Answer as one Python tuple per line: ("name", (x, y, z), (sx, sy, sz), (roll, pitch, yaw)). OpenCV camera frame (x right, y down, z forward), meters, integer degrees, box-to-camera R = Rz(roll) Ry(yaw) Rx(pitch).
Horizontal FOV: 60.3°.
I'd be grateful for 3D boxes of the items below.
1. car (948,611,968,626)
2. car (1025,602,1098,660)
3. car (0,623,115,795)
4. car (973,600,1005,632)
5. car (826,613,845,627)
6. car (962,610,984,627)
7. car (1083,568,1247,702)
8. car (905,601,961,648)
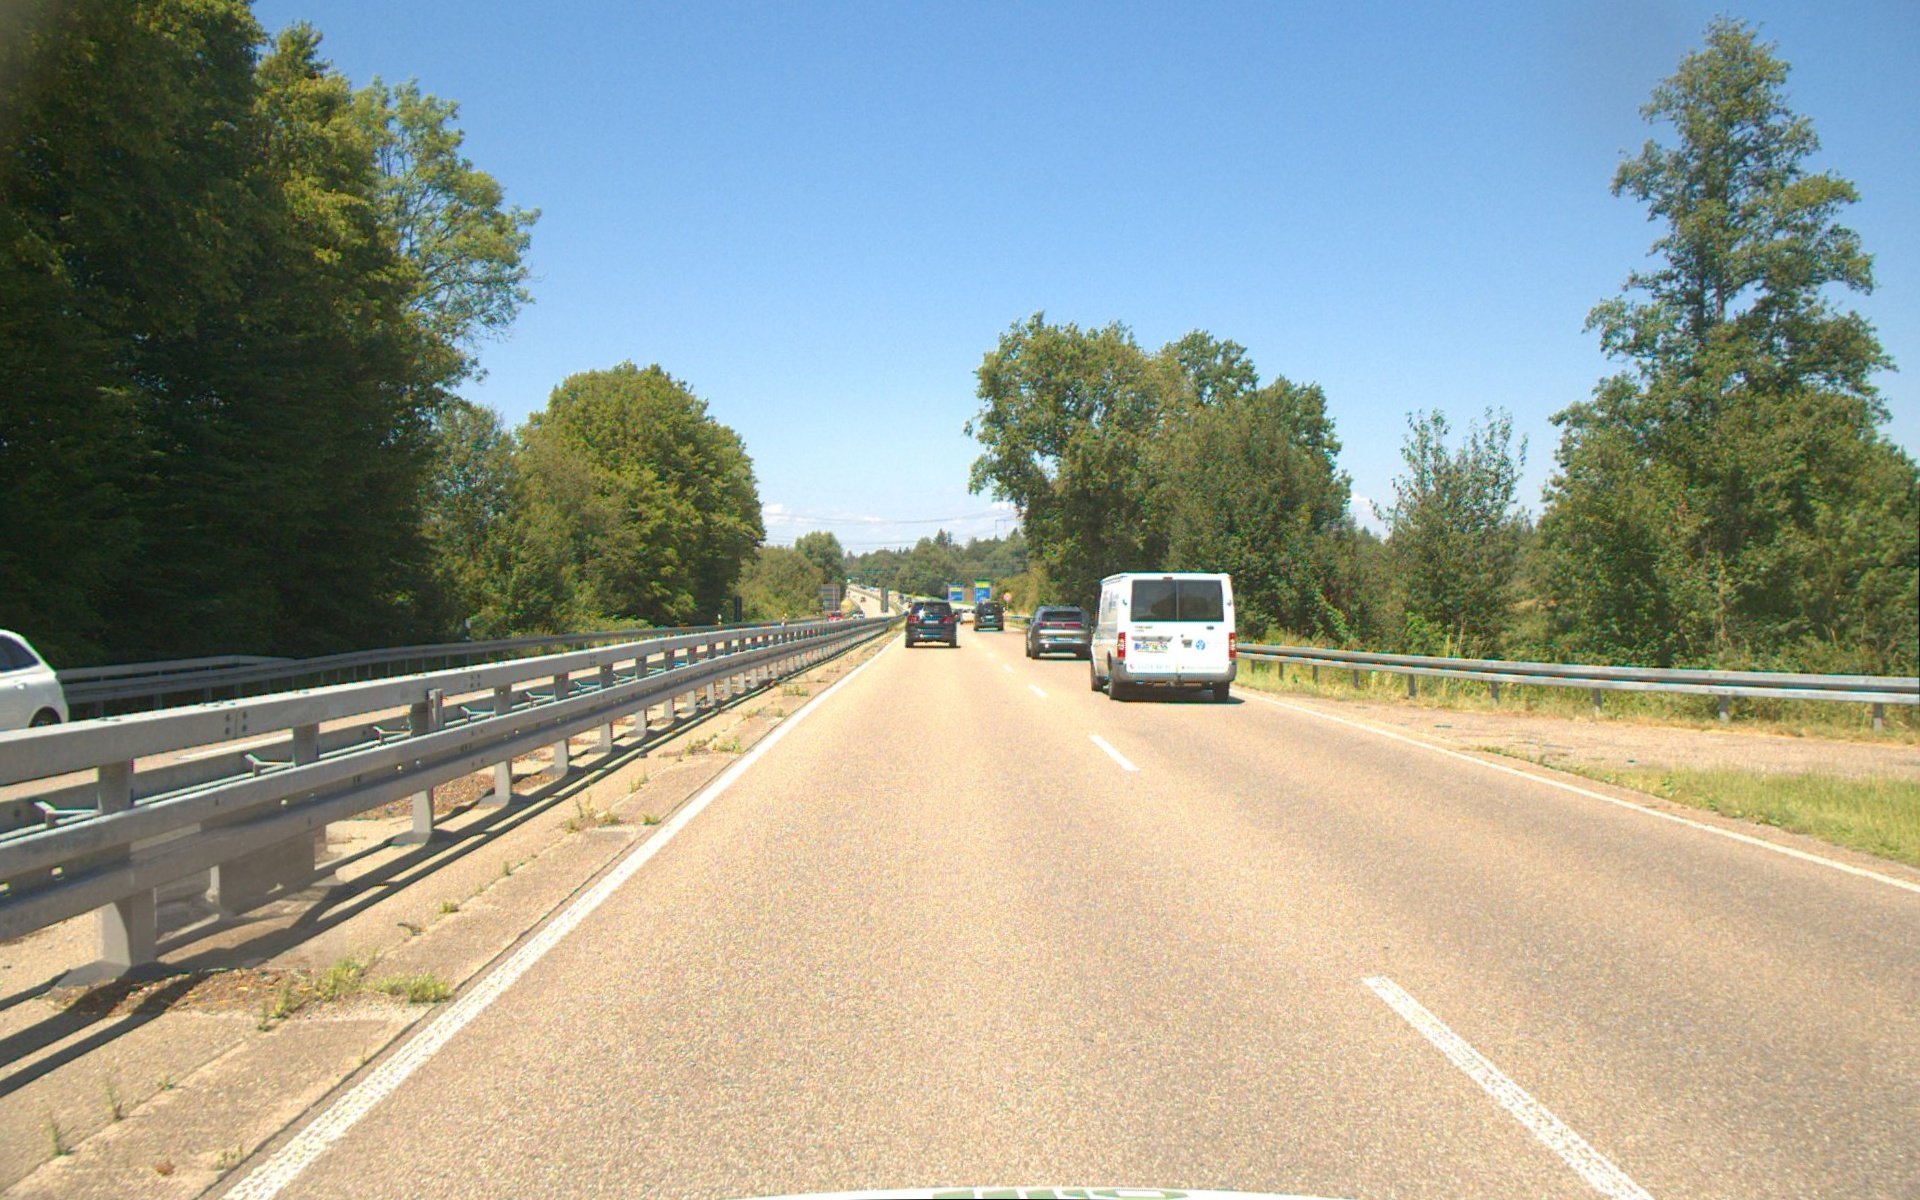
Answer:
("car", (-0.193, 1.838, 165.068), (1.783, 1.439, 3.999), (-2, 0, -2))
("car", (2.966, 0.884, 48.990), (1.749, 1.580, 4.017), (-1, 0, -2))
("car", (-10.141, 1.103, 15.703), (1.782, 1.626, 4.839), (-3, 0, -1))
("car", (1.780, 0.990, 103.330), (1.744, 1.848, 4.212), (-2, 0, -1))
("car", (-13.530, 2.119, 179.799), (1.740, 1.444, 4.573), (-2, -1, -2))
("car", (1.145, 1.632, 150.451), (1.743, 1.505, 4.313), (0, 0, -3))
("car", (3.317, 0.561, 27.700), (1.965, 2.023, 5.032), (-1, -1, -2))
("car", (-1.055, 0.900, 61.596), (1.954, 1.683, 3.998), (0, 0, -3))
